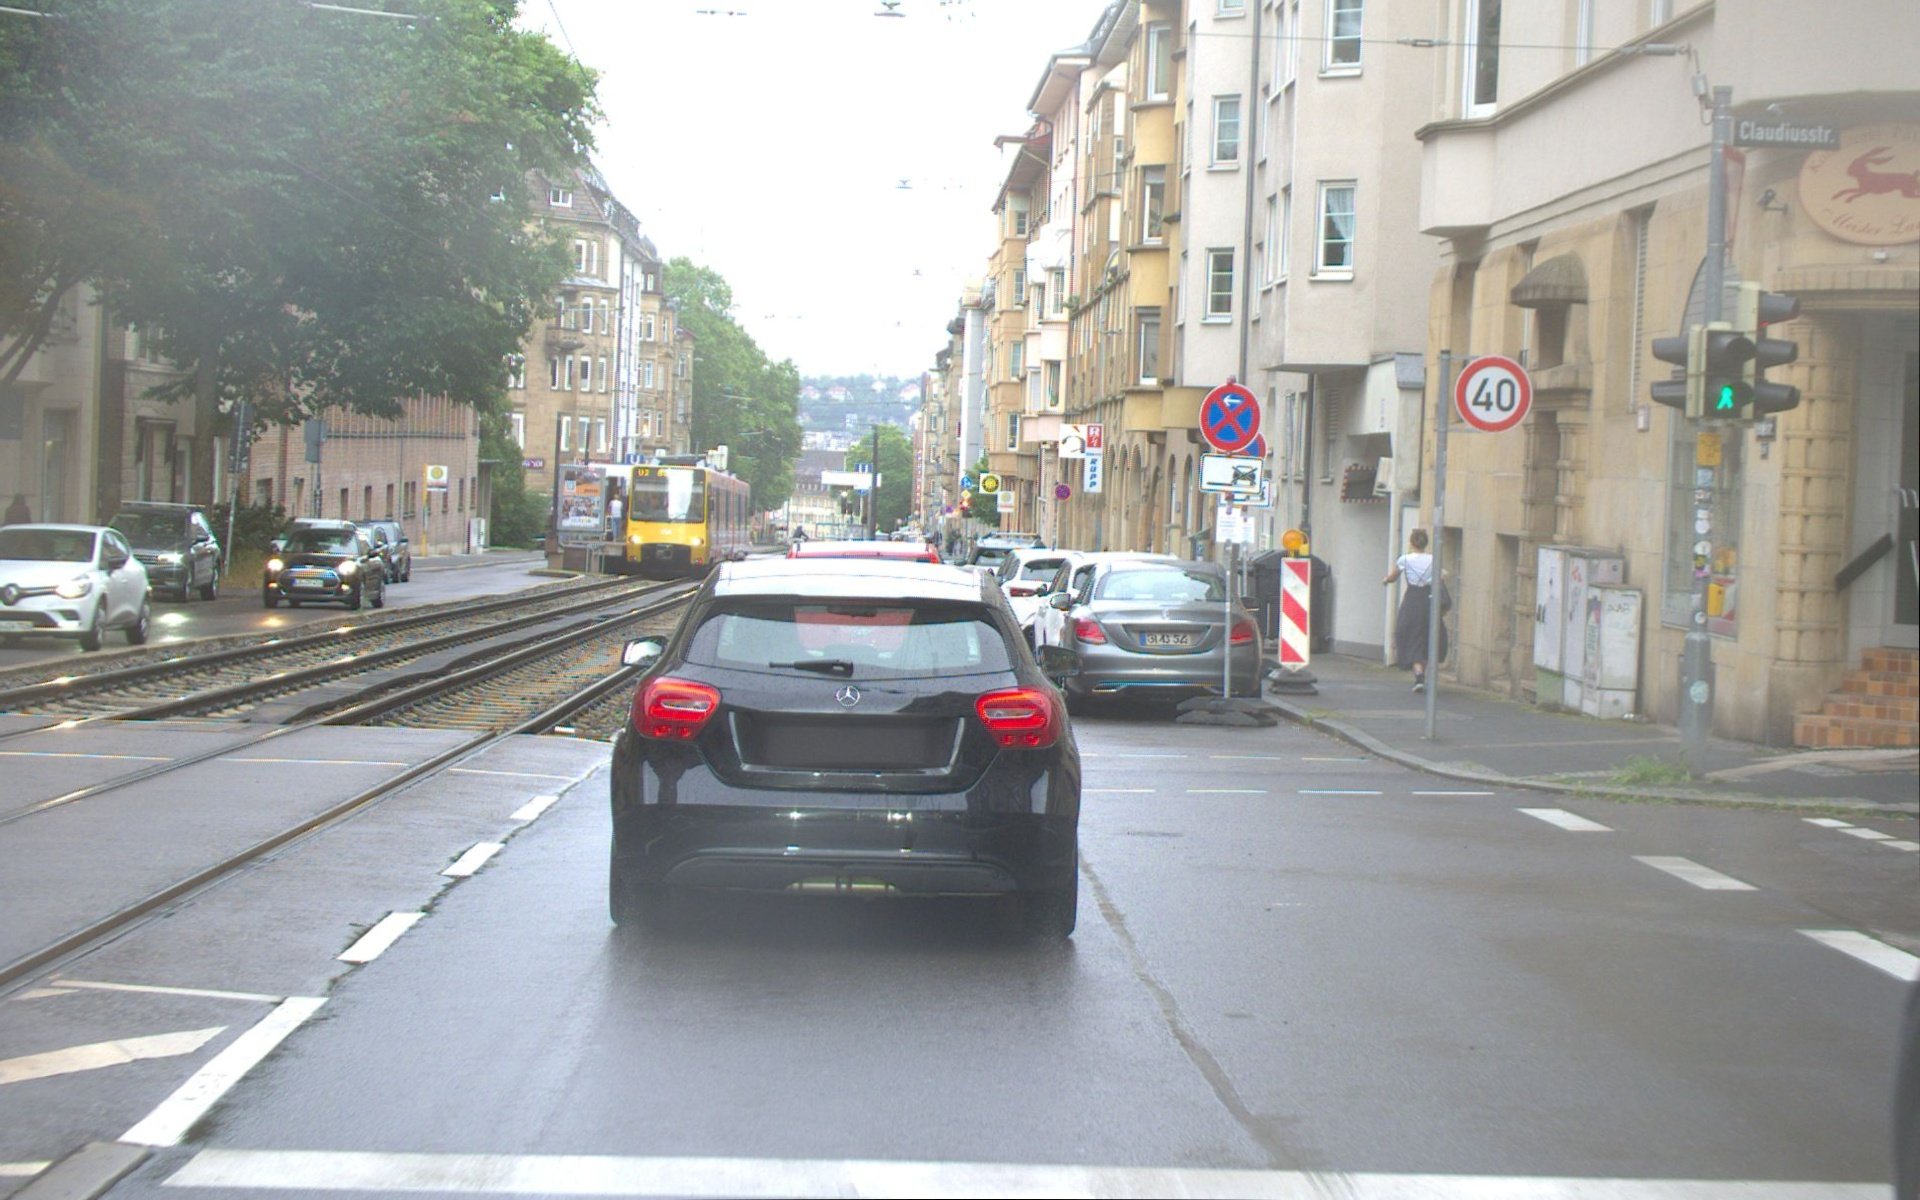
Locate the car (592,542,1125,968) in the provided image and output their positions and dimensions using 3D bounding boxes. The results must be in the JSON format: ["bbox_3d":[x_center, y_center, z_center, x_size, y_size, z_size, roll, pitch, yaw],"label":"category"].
[{"bbox_3d":[-0.390,0.524,14.049,1.834,1.448,3.902,2,1,-1],"label":"car"}]

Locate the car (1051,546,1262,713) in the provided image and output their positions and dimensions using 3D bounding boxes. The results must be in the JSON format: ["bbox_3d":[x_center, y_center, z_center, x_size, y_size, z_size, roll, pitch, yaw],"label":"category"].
[{"bbox_3d":[1.766,0.245,32.241,1.711,1.405,4.817,1,0,0],"label":"car"}]

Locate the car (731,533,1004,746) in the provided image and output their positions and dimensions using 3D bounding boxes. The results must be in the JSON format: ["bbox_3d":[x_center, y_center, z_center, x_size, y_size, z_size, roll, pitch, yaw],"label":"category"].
[{"bbox_3d":[-0.732,0.275,27.983,1.993,1.520,4.246,2,1,-1],"label":"car"}]

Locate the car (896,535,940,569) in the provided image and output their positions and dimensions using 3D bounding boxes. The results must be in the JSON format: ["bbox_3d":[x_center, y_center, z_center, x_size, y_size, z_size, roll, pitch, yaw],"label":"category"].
[{"bbox_3d":[-1.968,-2.265,162.145,1.887,1.520,4.245,2,1,1],"label":"car"}]

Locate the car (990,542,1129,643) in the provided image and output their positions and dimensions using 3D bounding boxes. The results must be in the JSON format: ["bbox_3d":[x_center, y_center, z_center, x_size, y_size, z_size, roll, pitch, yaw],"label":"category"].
[{"bbox_3d":[1.426,-0.117,50.666,1.789,1.381,4.395,1,0,-1],"label":"car"}]

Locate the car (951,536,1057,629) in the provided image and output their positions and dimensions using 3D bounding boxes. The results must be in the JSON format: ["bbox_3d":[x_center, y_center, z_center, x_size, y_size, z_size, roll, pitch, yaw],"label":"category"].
[{"bbox_3d":[0.819,-0.313,63.251,1.841,1.602,4.760,1,0,1],"label":"car"}]

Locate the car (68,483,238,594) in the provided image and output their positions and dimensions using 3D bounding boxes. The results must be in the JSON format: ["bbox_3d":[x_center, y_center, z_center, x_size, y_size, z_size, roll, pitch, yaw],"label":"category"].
[{"bbox_3d":[-14.189,-1.098,60.715,1.953,1.736,4.780,5,1,-3],"label":"car"}]

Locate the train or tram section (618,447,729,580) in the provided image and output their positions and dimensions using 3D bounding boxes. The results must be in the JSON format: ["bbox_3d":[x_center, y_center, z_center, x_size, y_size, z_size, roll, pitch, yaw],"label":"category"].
[{"bbox_3d":[-9.406,-2.828,114.624,2.745,4.048,17.216,1,1,-2],"label":"train or tram section"}]

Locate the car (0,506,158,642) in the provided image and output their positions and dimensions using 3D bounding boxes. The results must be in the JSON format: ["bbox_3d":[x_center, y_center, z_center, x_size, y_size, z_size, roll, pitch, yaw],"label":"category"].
[{"bbox_3d":[-10.723,-0.311,40.414,1.780,1.497,4.063,1,0,-3],"label":"car"}]

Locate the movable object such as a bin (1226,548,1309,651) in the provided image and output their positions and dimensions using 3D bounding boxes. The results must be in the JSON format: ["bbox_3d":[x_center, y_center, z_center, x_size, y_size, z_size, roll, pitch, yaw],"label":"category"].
[{"bbox_3d":[4.460,-0.009,49.982,1.018,1.463,1.323,1,0,-2],"label":"movable object such as a bin"}]

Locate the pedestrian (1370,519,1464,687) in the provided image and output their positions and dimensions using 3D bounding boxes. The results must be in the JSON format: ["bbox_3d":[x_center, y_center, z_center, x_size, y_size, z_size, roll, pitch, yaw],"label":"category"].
[{"bbox_3d":[4.676,0.029,35.230,0.804,1.681,0.754,1,0,-2],"label":"pedestrian"}]

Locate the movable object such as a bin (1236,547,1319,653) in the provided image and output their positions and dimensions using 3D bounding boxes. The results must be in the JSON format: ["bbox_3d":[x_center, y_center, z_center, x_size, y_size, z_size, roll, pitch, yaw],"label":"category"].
[{"bbox_3d":[4.468,-0.002,48.485,0.980,1.463,1.273,1,0,-2],"label":"movable object such as a bin"}]

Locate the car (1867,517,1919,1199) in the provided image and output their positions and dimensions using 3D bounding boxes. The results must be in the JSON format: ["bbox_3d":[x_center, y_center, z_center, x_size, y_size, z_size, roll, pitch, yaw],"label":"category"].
[{"bbox_3d":[2.683,0.682,4.439,1.867,1.543,3.991,2,1,-1],"label":"car"}]

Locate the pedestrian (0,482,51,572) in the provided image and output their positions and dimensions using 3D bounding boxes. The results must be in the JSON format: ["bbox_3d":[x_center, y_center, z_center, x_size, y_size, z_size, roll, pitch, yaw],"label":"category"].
[{"bbox_3d":[-17.606,-1.381,64.780,0.728,1.657,0.771,2,1,-2],"label":"pedestrian"}]

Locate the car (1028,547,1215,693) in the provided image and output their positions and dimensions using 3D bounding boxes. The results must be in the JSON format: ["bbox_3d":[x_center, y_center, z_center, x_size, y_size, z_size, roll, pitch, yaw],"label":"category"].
[{"bbox_3d":[1.698,0.195,37.608,1.712,1.463,4.774,1,0,-1],"label":"car"}]

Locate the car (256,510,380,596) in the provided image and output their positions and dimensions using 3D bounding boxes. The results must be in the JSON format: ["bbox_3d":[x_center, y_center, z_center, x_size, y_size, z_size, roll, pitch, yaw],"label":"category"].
[{"bbox_3d":[-11.356,-0.846,60.957,1.653,1.458,3.735,1,1,-3],"label":"car"}]
